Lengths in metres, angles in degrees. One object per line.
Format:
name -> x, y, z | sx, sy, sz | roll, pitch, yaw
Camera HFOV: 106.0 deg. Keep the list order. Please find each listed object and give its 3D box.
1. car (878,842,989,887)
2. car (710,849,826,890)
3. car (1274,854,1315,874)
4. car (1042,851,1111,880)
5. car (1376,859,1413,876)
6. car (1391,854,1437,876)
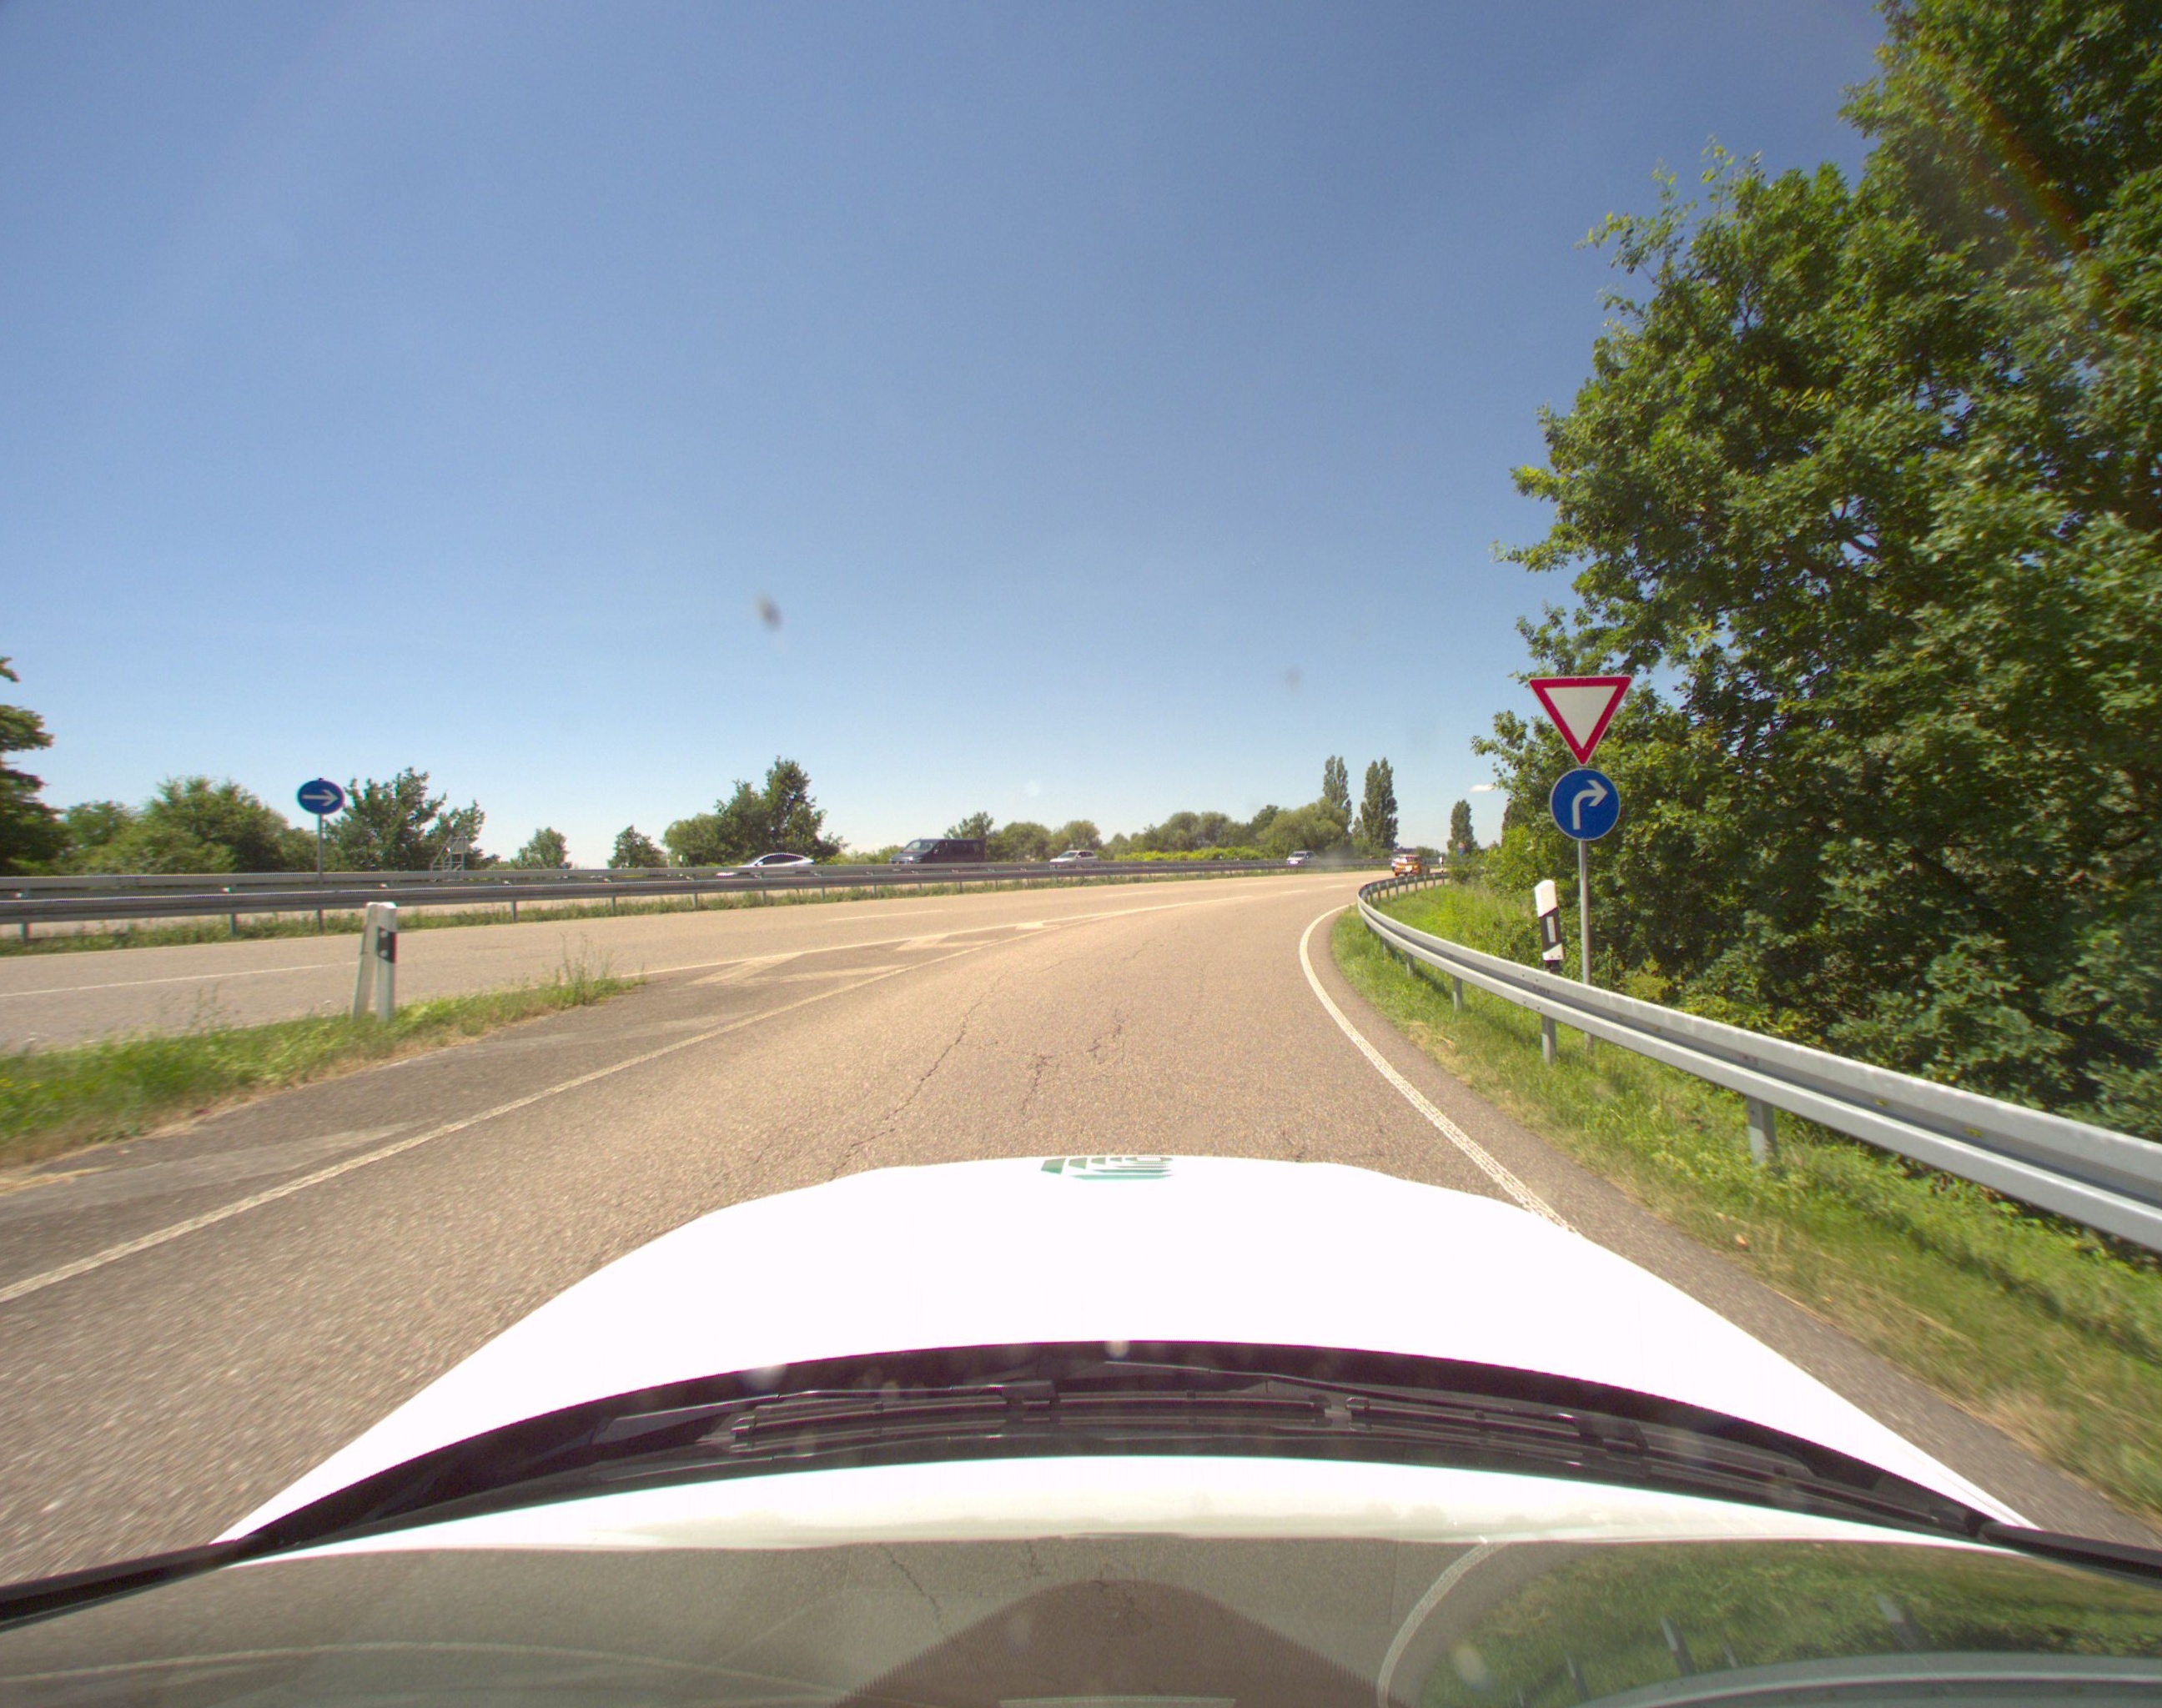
car -> -6.658, 0.515, 37.332 | 2.182, 1.893, 4.942 | 0, -2, 33
car -> -15.257, 0.764, 39.864 | 4.939, 1.893, 1.917 | 2, -2, -44
car -> 20.651, 0.984, 78.618 | 2.182, 1.893, 4.943 | -1, -2, 37
car -> -0.257, 0.796, 55.844 | 2.182, 1.893, 4.942 | -1, -2, 38
car -> 27.024, 1.140, 70.058 | 1.823, 1.451, 4.025 | 1, 0, 39
car -> 22.909, 0.739, 55.898 | 1.823, 1.464, 4.025 | 1, 0, 39
